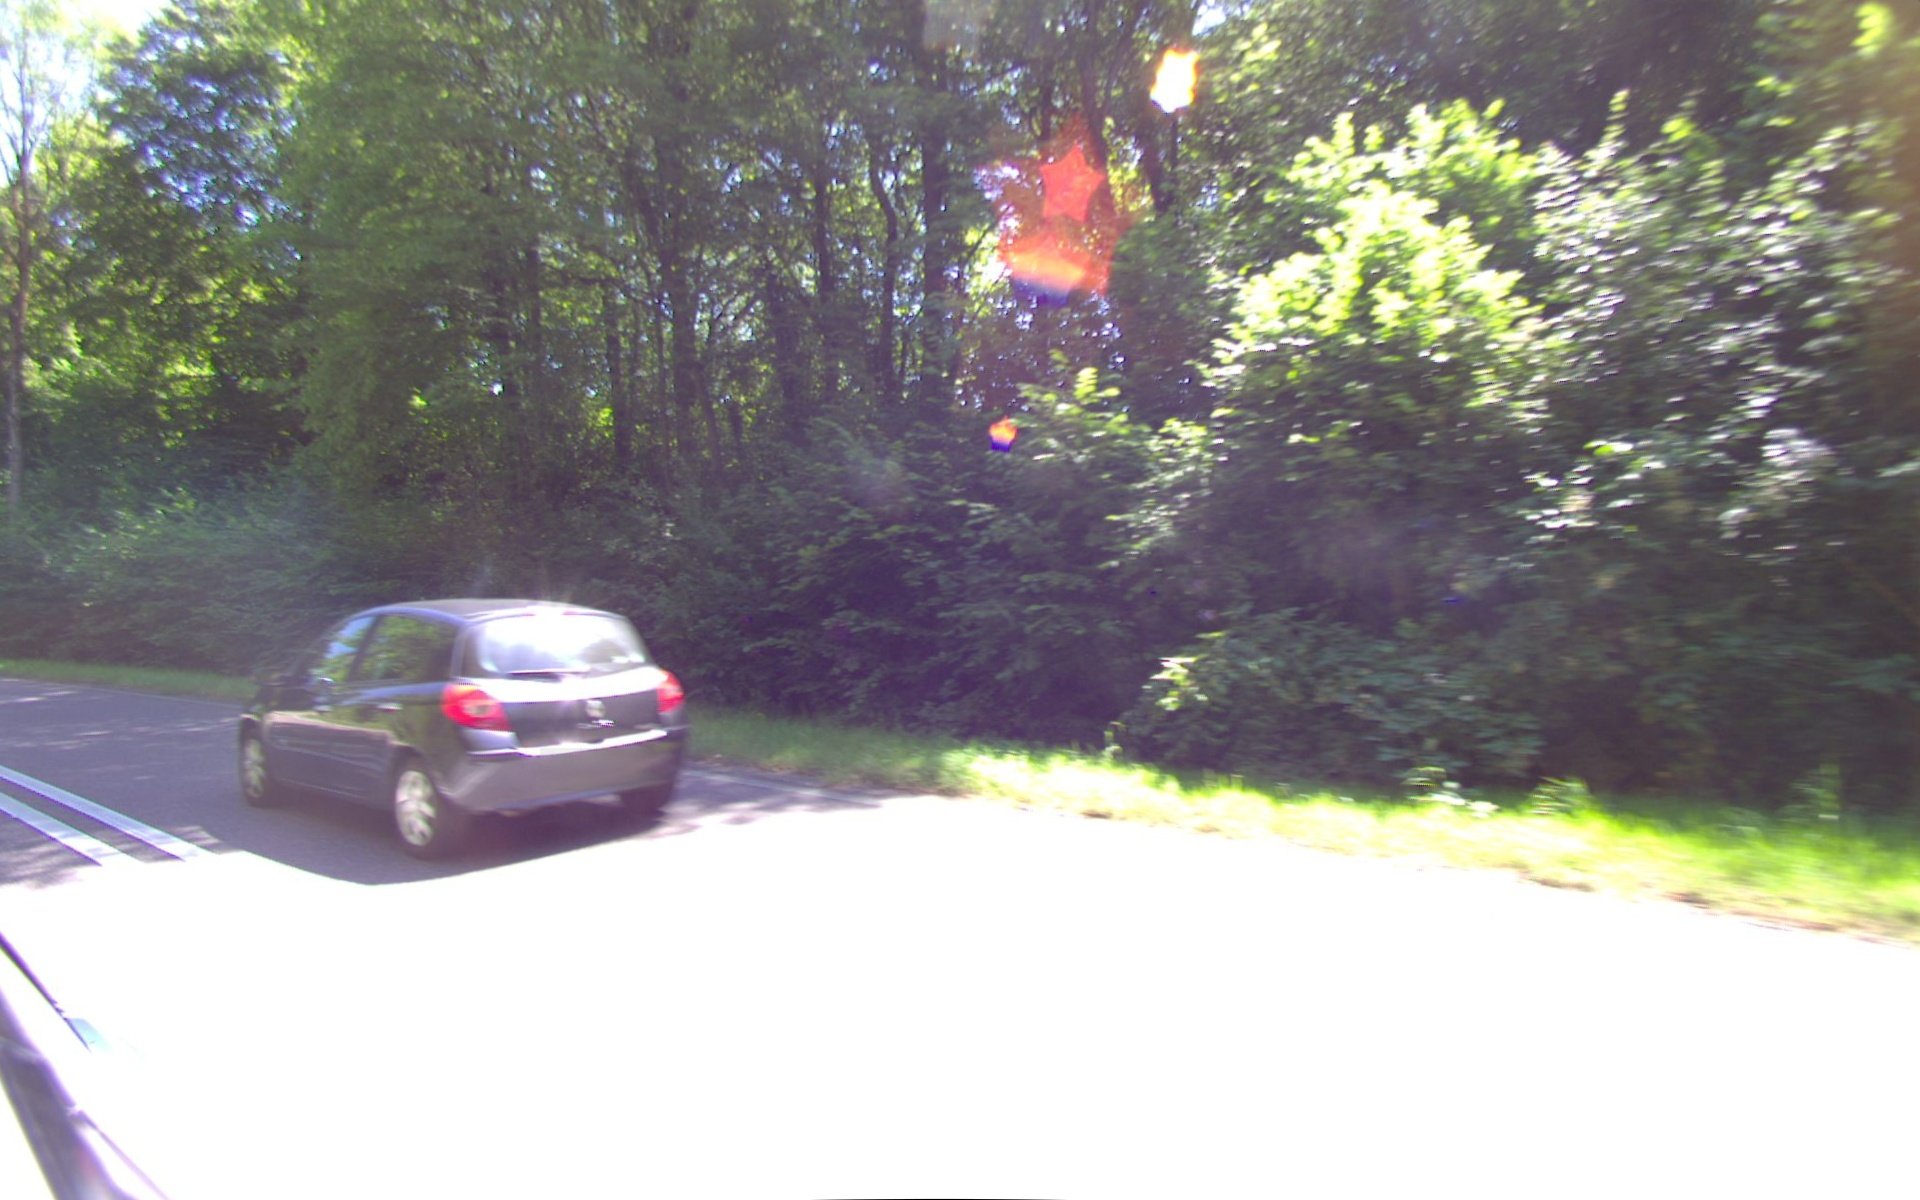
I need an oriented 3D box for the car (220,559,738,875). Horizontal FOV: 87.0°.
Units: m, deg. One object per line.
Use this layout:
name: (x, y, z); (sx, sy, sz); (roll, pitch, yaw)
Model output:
car: (-3.446, 0.613, 6.961); (3.890, 1.586, 1.661); (0, -2, 39)
